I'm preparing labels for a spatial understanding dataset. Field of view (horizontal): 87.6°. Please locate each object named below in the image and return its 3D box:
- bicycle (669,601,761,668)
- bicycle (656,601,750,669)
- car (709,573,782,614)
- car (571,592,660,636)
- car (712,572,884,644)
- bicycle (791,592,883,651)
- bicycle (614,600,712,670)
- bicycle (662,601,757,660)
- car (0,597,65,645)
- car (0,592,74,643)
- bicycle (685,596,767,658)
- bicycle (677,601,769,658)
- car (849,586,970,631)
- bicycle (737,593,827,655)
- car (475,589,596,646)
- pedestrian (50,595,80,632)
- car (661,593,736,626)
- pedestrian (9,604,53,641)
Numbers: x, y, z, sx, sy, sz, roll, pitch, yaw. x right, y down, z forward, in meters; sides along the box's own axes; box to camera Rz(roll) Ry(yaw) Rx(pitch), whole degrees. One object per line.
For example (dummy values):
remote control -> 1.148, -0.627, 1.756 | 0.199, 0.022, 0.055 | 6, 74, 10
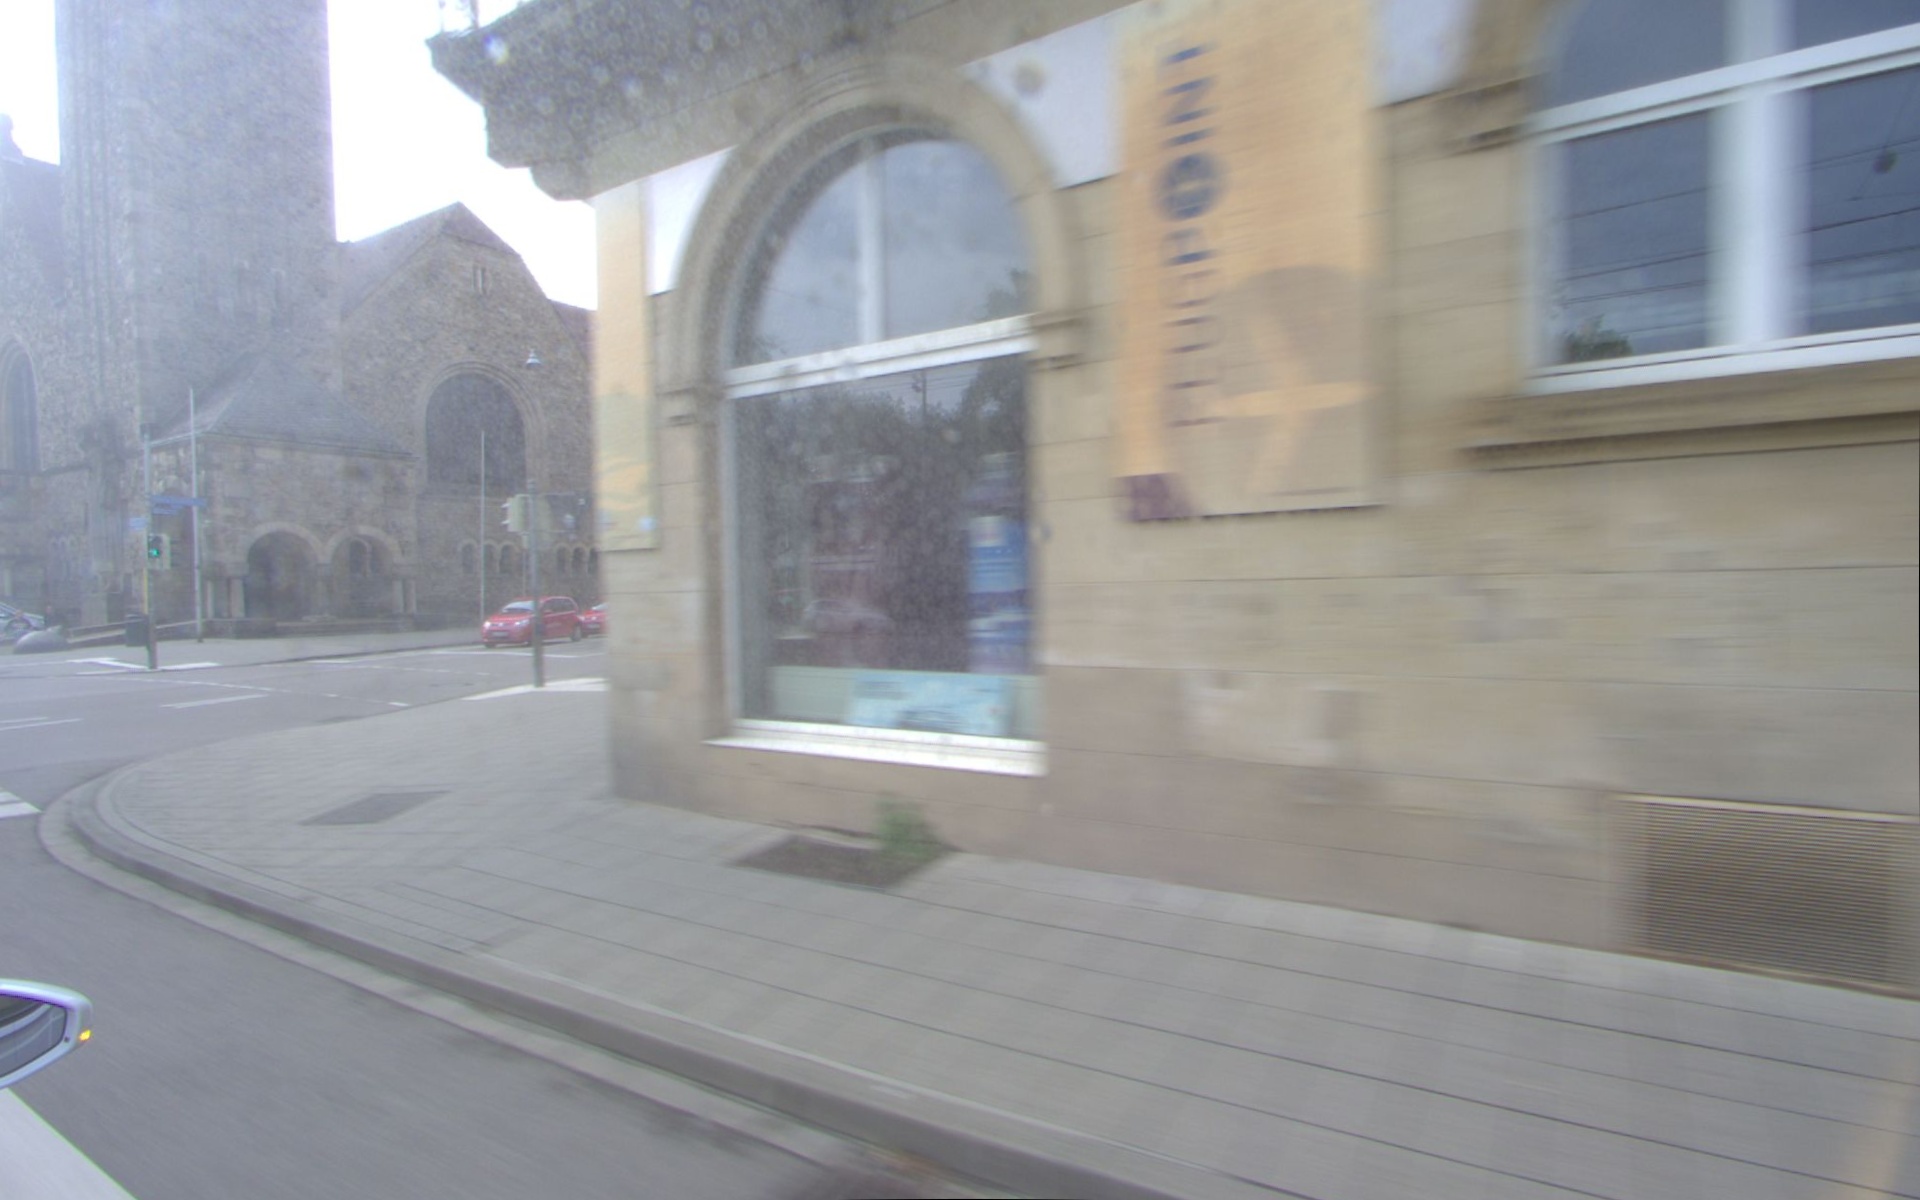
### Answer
bicycle -> -4.587, 0.644, 18.768 | 1.542, 1.142, 0.476 | -4, 0, 7
bicycle -> -4.679, 0.638, 18.244 | 1.542, 1.142, 0.476 | -4, 0, 7
car -> -10.768, -0.355, 50.722 | 1.881, 1.981, 5.280 | 0, 1, 8
car -> -12.640, 0.494, 36.973 | 1.576, 1.476, 3.717 | -2, 0, 7
car -> -3.962, 0.175, 24.754 | 3.788, 1.582, 1.781 | -3, 1, -39
bicycle -> -2.437, 0.430, 19.935 | 1.705, 1.053, 0.476 | -4, 0, 7
bicycle -> -5.255, 0.612, 17.750 | 1.542, 1.142, 0.476 | -4, 0, 7
bicycle -> -4.918, 0.600, 19.693 | 1.705, 1.053, 0.476 | -4, 0, 7
car -> -34.204, 0.723, 34.795 | 1.639, 1.658, 4.340 | 0, 0, 32
car -> -36.462, 0.661, 37.550 | 1.639, 1.906, 4.601 | 0, 0, 32
bicycle -> -4.868, 0.563, 20.857 | 1.542, 1.187, 0.476 | -4, 0, 7
bicycle -> -4.812, 0.600, 20.333 | 1.705, 1.053, 0.476 | -4, 0, 7
car -> -1.982, 0.306, 39.688 | 4.401, 1.573, 1.842 | -2, 1, -31
bicycle -> -3.777, 0.512, 21.324 | 1.751, 1.187, 0.495 | -4, 0, 7
car -> -13.107, 0.487, 31.160 | 1.623, 1.549, 3.890 | -2, 1, 8
pedestrian -> -30.675, 0.466, 34.319 | 0.731, 1.245, 1.053 | 0, 0, -42
car -> -11.425, 0.374, 43.957 | 1.677, 1.303, 4.040 | -2, 0, 9
pedestrian -> -30.981, 0.733, 33.380 | 1.472, 1.207, 0.735 | 0, 0, 33
